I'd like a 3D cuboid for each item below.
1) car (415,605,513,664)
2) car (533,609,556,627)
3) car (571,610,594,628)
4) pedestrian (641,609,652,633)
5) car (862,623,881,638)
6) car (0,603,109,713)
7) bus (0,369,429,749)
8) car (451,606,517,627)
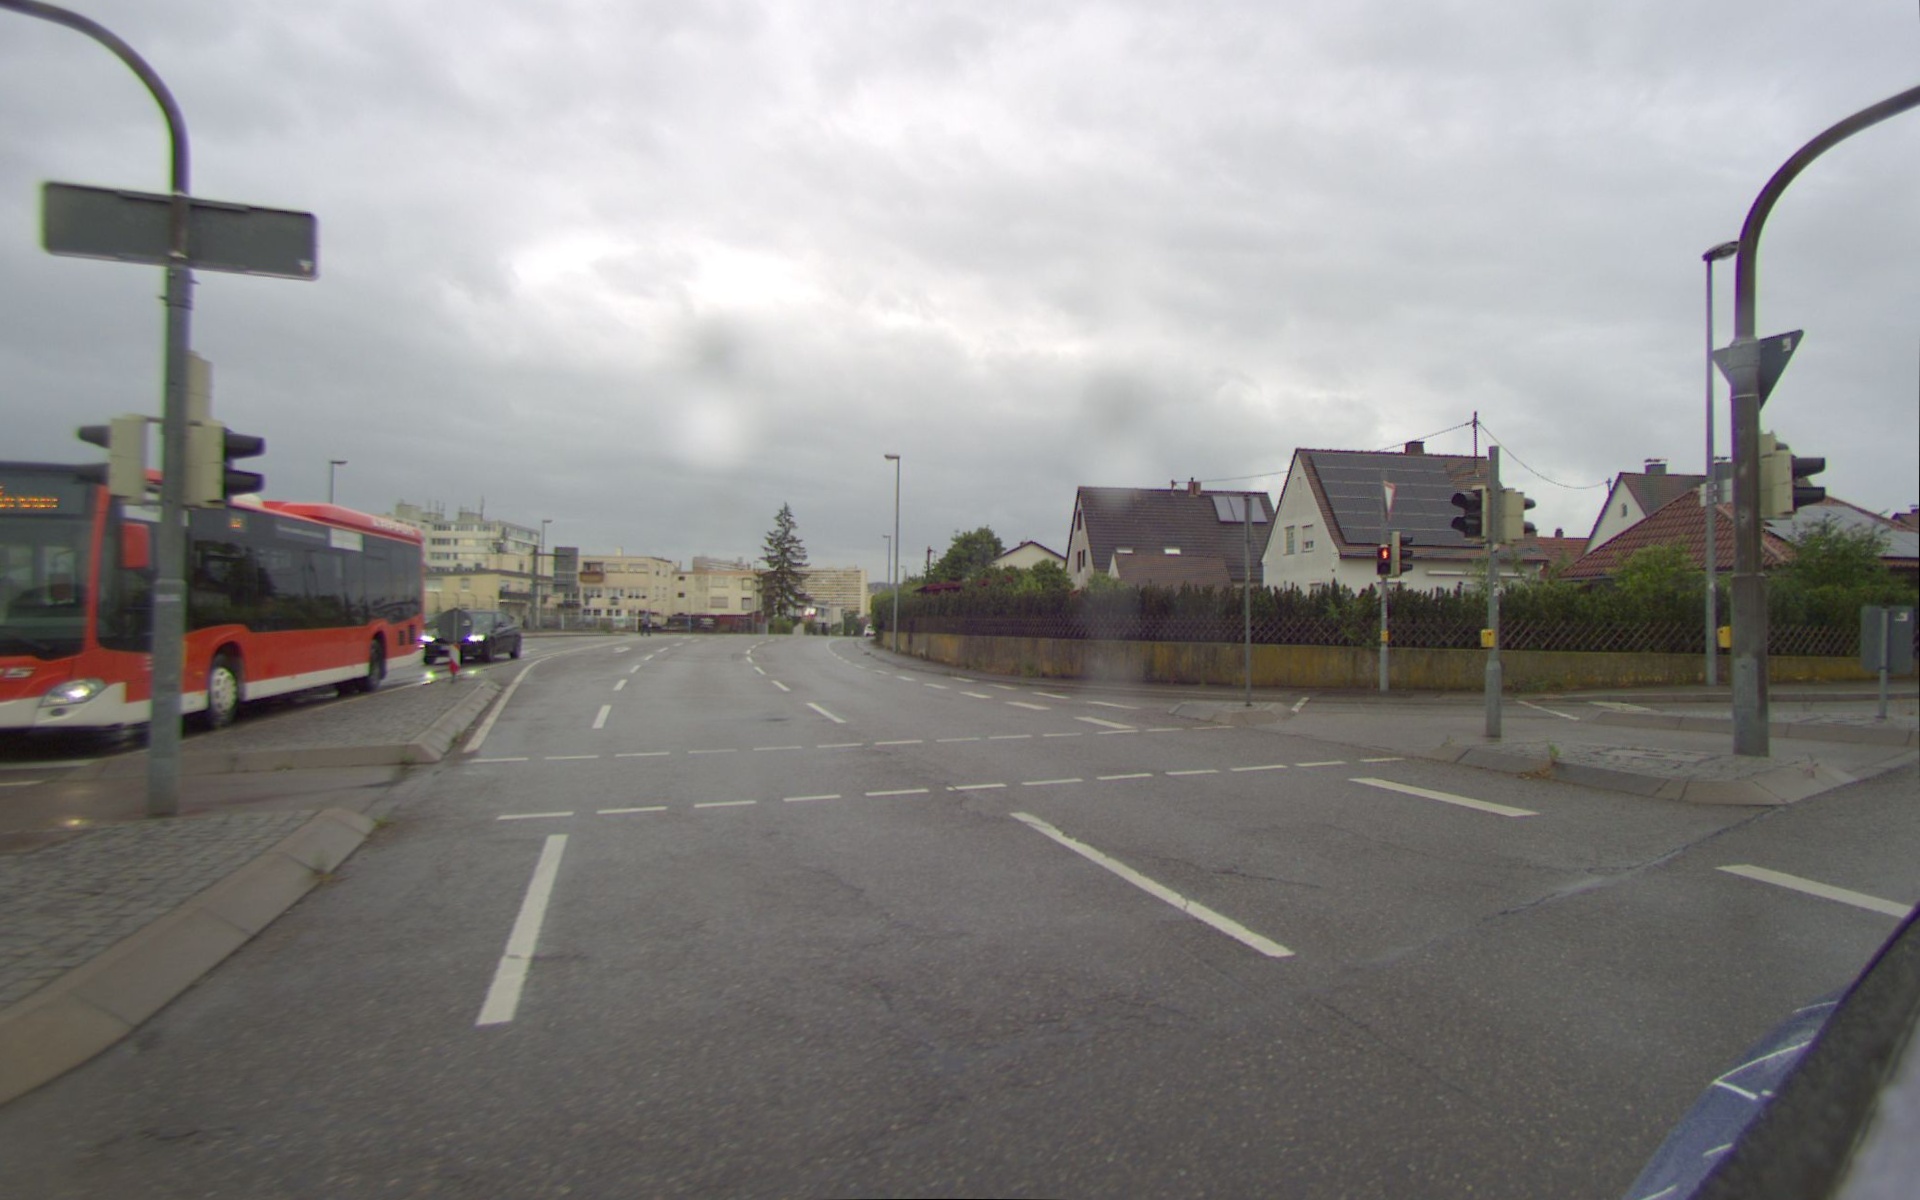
[{"bbox_3d":[-14.315,0.936,29.420,1.814,1.516,4.008,0,1,-15],"label":"car"},{"bbox_3d":[-41.649,1.795,101.398,1.958,1.750,4.007,0,0,-24],"label":"car"},{"bbox_3d":[-38.180,1.886,102.197,1.958,1.750,4.007,0,0,-24],"label":"car"},{"bbox_3d":[-22.223,1.472,71.718,0.684,1.686,0.678,0,-1,-24],"label":"pedestrian"},{"bbox_3d":[-10.143,3.449,116.117,1.819,1.516,3.998,0,1,2],"label":"car"},{"bbox_3d":[-14.135,0.795,14.008,1.862,1.486,4.601,0,0,-16],"label":"car"},{"bbox_3d":[-11.262,-0.228,15.432,2.924,3.623,12.312,0,-1,-15],"label":"bus"},{"bbox_3d":[-34.626,1.168,73.666,3.919,1.471,2.002,0,0,-6],"label":"car"}]
